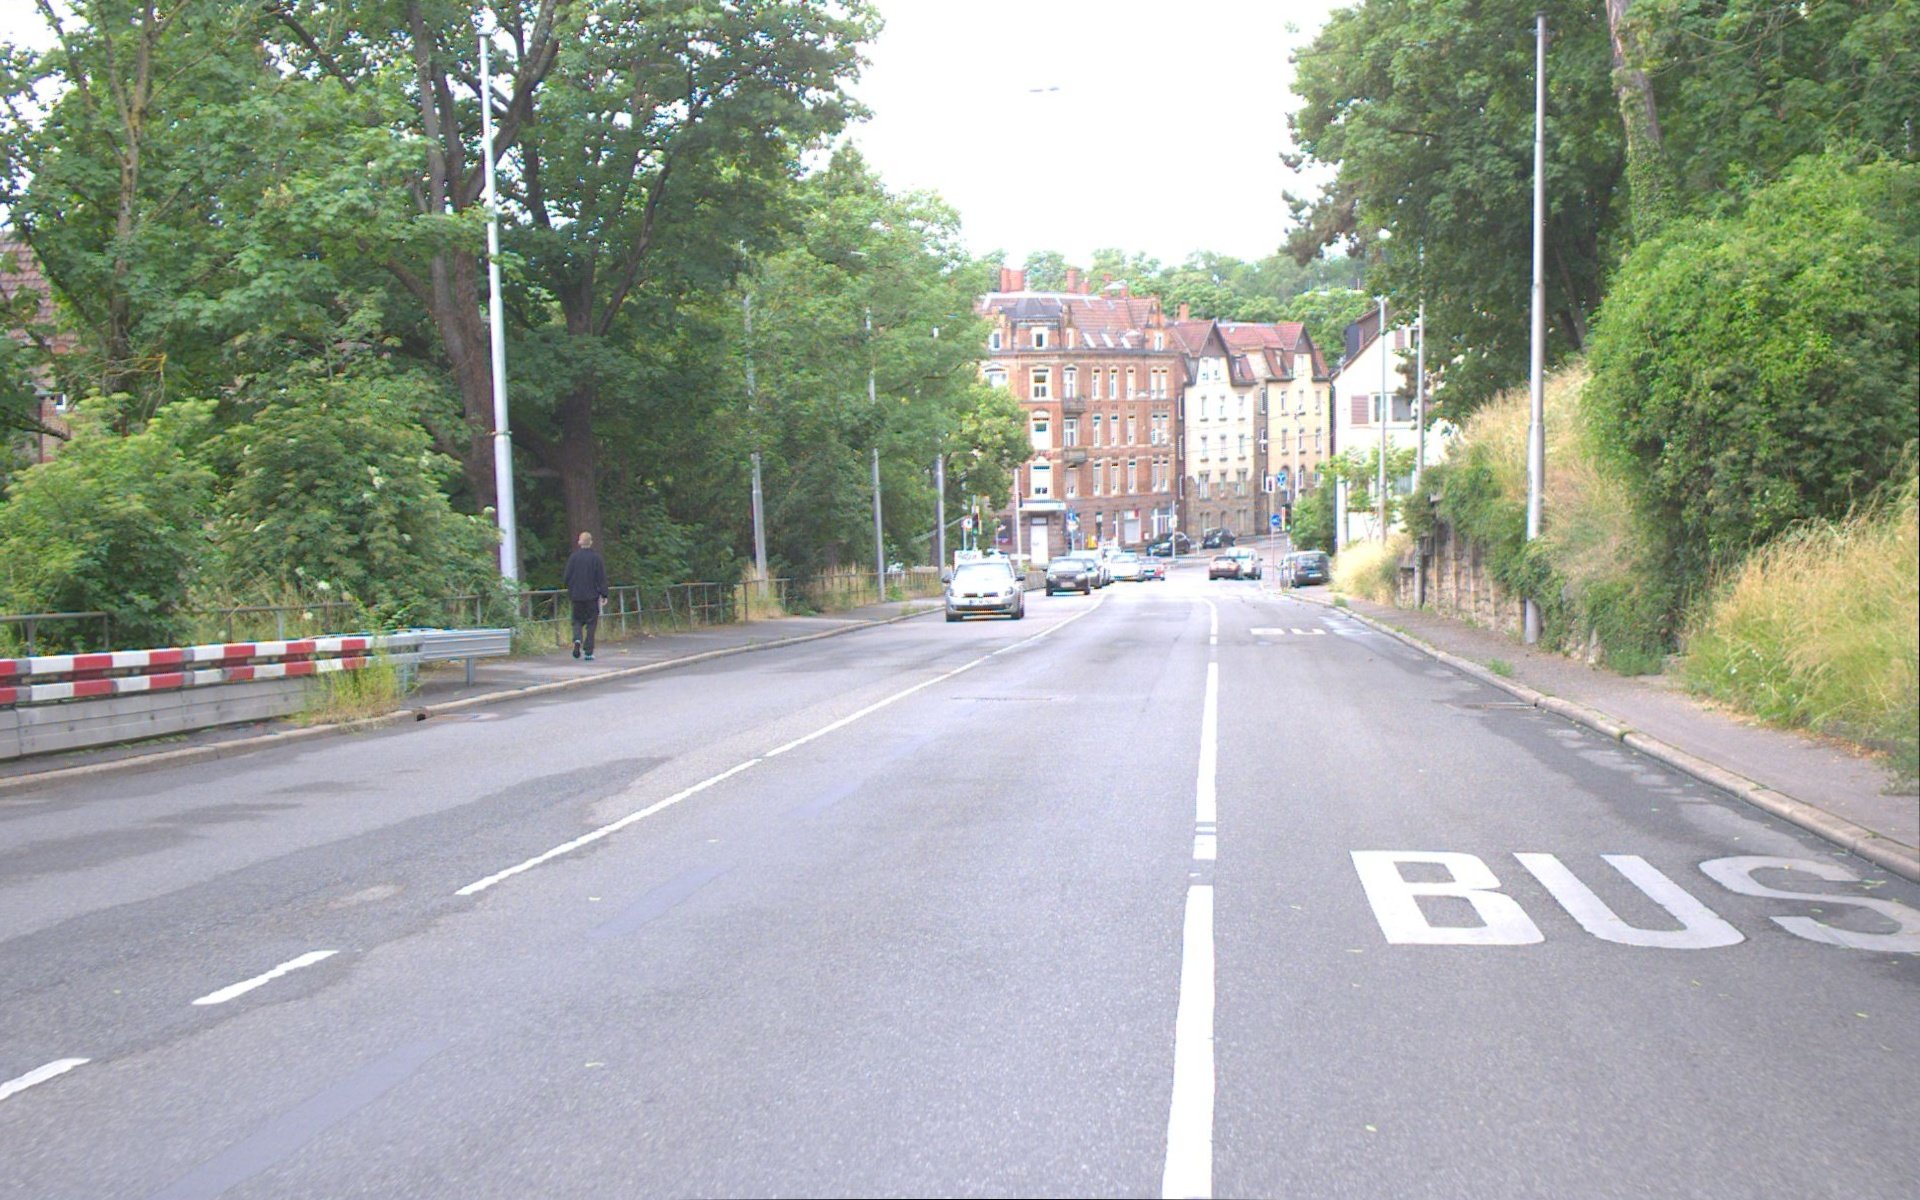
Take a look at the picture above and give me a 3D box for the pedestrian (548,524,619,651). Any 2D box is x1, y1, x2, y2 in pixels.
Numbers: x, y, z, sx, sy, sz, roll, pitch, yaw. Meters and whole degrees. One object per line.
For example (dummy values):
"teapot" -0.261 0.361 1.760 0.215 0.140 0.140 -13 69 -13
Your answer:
"pedestrian" -5.368 -0.192 49.109 0.788 1.768 1.209 2 1 2

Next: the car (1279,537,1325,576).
"car" 14.138 -1.799 142.298 1.682 1.446 3.999 -4 0 4

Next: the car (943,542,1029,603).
"car" 0.653 -0.687 82.724 1.794 1.422 4.143 0 1 4

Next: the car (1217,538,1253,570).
"car" 16.766 -2.805 209.281 1.910 1.877 3.999 1 0 9

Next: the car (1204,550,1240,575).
"car" 15.407 -2.211 201.875 1.817 1.425 3.999 1 1 9

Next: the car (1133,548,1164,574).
"car" 11.205 -2.305 204.355 1.784 1.454 4.428 -2 0 4

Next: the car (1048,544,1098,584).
"car" 4.288 -1.380 130.073 1.669 1.442 3.688 -2 1 5

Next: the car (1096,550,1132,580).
"car" 8.280 -1.868 184.460 1.784 1.569 4.280 -2 0 4
